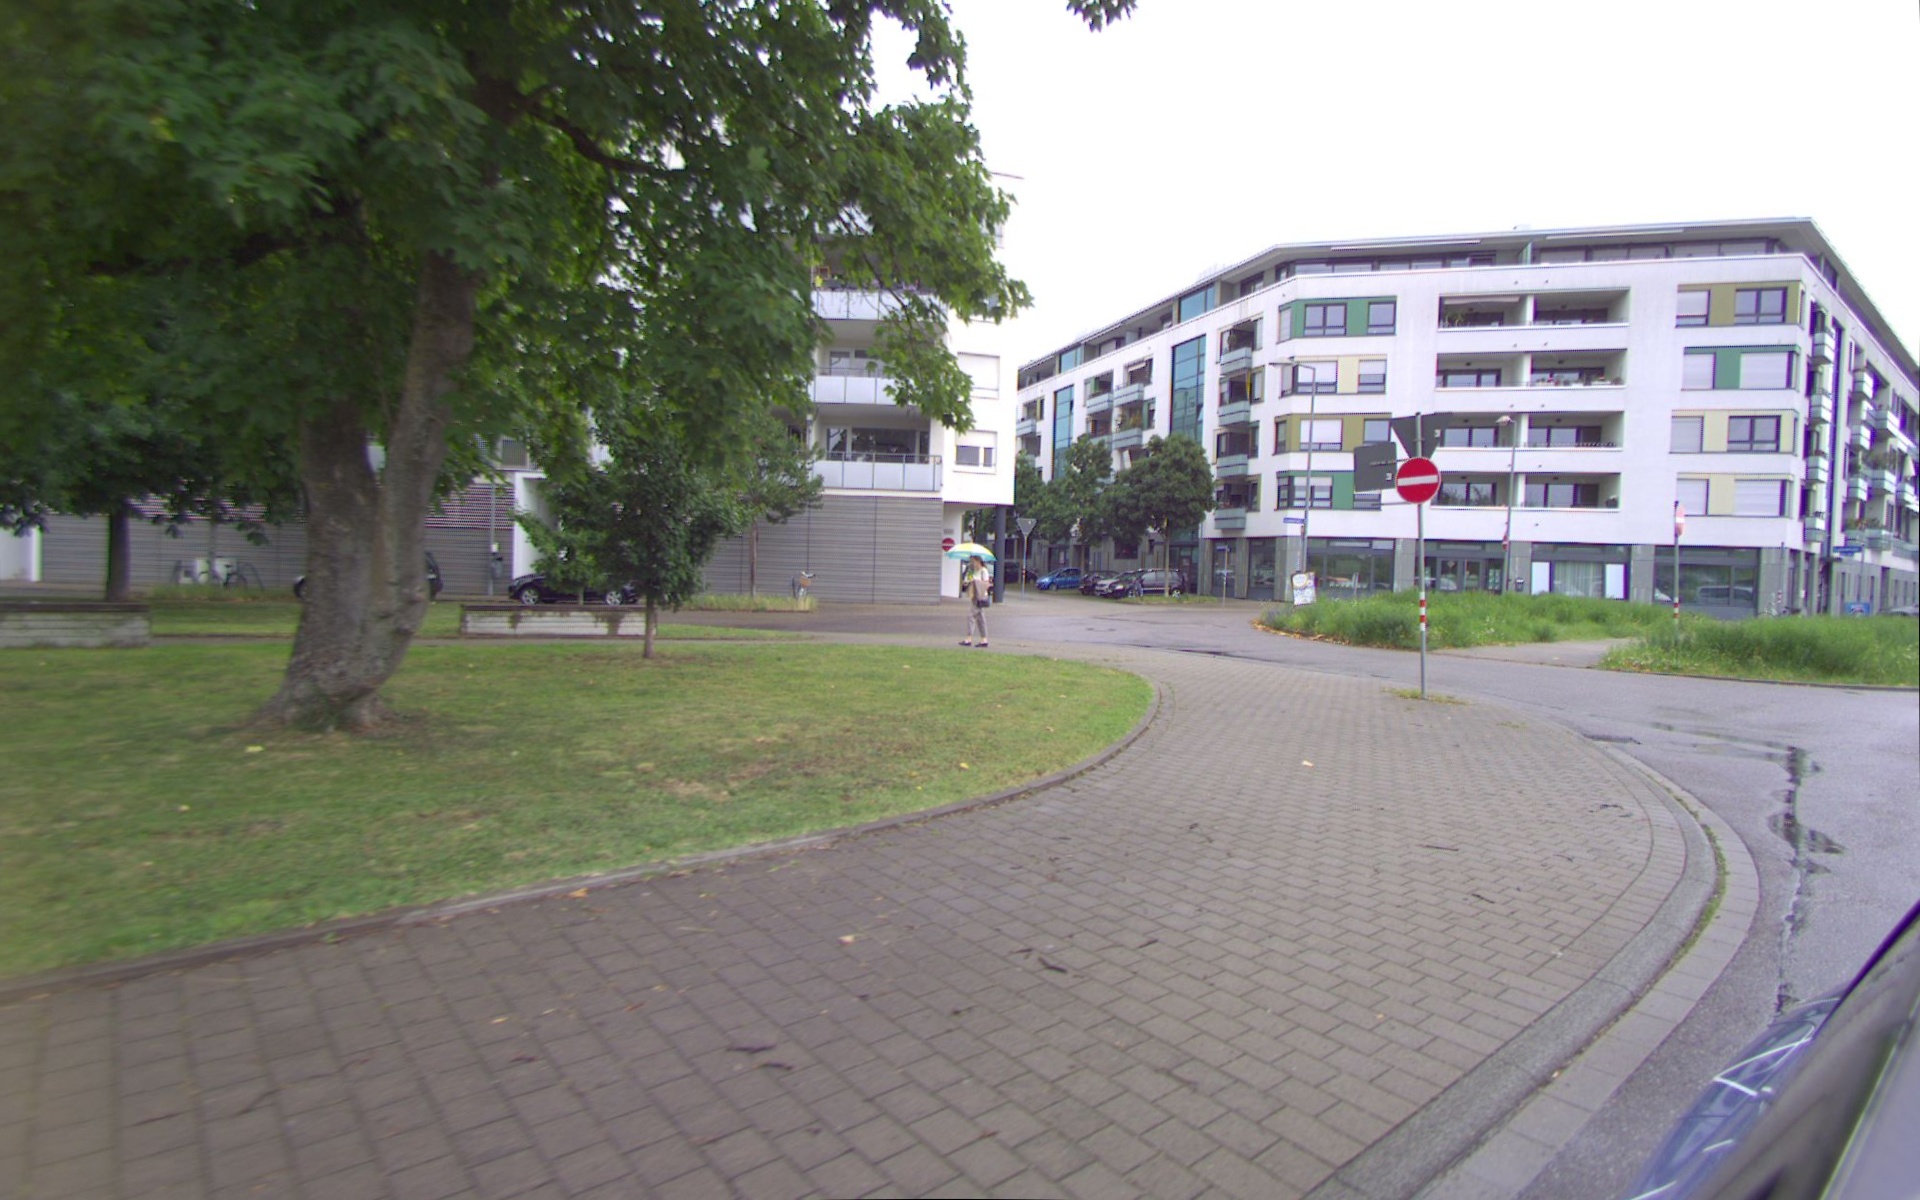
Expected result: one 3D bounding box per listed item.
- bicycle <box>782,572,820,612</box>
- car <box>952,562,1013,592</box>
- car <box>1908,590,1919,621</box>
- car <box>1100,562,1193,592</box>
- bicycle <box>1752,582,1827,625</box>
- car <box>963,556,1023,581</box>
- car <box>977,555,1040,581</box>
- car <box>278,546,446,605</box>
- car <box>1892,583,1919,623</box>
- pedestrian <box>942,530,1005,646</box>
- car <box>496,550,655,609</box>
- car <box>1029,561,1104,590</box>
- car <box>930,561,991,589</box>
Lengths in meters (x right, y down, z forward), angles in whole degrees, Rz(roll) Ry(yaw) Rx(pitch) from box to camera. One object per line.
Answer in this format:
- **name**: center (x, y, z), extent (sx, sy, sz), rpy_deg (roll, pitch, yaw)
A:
- **bicycle**: center (-4.695, -0.259, 30.032), extent (0.712, 1.101, 2.485), rpy_deg (2, 2, 0)
- **car**: center (1.094, -1.188, 51.997), extent (1.958, 1.432, 3.836), rpy_deg (1, 2, -18)
- **car**: center (46.421, 0.416, 46.135), extent (1.877, 1.422, 4.420), rpy_deg (0, 4, -41)
- **car**: center (9.800, -1.228, 53.253), extent (4.428, 1.450, 1.818), rpy_deg (1, 2, -18)
- **bicycle**: center (32.453, 0.128, 39.629), extent (0.617, 1.541, 2.200), rpy_deg (1, 2, -20)
- **car**: center (2.447, -2.322, 74.580), extent (4.016, 1.775, 1.818), rpy_deg (1, 2, -18)
- **car**: center (3.378, -2.254, 71.250), extent (4.016, 1.775, 1.818), rpy_deg (1, 2, -18)
- **car**: center (-17.531, -0.729, 29.786), extent (3.922, 1.567, 1.736), rpy_deg (1, 2, -2)
- **car**: center (42.661, 0.255, 43.133), extent (1.932, 1.643, 4.098), rpy_deg (0, 5, -42)
- **pedestrian**: center (0.241, -0.226, 18.271), extent (0.611, 2.038, 0.967), rpy_deg (1, 2, -40)
- **car**: center (-11.293, -0.615, 29.894), extent (4.041, 1.567, 1.736), rpy_deg (1, 2, -2)
- **car**: center (6.579, -1.547, 62.627), extent (4.258, 1.671, 1.745), rpy_deg (1, 2, -13)
- **car**: center (-0.026, -1.425, 56.296), extent (1.958, 1.449, 4.476), rpy_deg (1, 2, -20)
